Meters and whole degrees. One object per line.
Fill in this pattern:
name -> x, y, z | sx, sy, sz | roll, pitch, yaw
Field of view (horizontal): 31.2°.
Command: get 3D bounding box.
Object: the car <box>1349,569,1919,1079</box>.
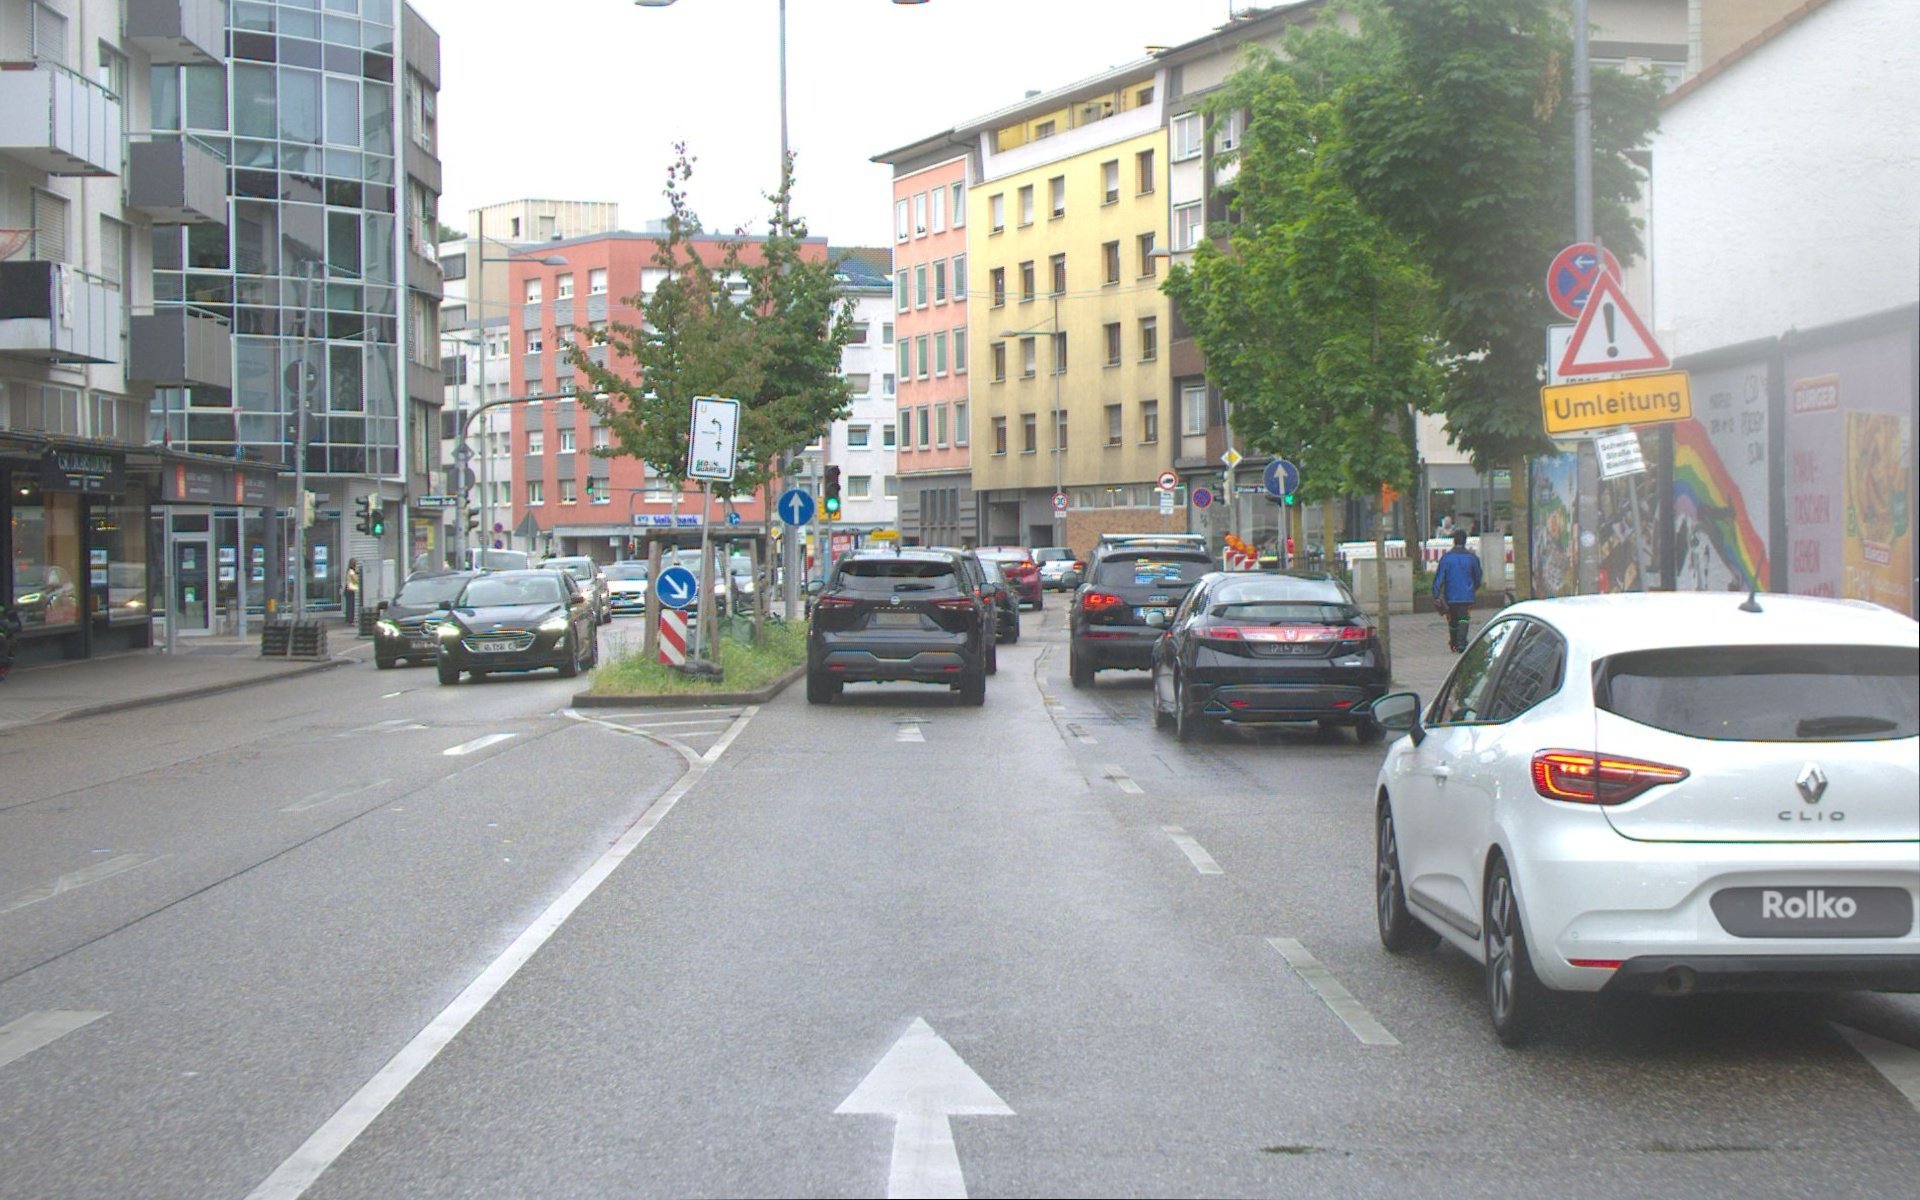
car -> 2.468, 0.647, 12.009 | 1.665, 1.391, 3.867 | 1, 2, -1

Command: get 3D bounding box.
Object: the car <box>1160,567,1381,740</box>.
car -> 2.651, 0.416, 30.010 | 1.787, 1.395, 3.718 | 1, 1, 3

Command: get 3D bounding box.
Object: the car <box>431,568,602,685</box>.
car -> -5.913, 0.322, 46.268 | 1.720, 1.418, 4.165 | -3, 1, 0

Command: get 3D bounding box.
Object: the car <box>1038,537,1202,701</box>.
car -> 1.875, 0.184, 41.280 | 1.830, 1.799, 3.719 | 1, 2, 1

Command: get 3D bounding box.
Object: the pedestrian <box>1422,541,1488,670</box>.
pedestrian -> 6.842, 0.073, 47.476 | 0.792, 1.749, 0.871 | -2, 0, 13

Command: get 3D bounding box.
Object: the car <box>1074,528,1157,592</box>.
car -> 4.085, -1.070, 90.873 | 1.708, 1.605, 3.729 | 2, 1, -4

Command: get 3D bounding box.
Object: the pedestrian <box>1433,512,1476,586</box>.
pedestrian -> 13.622, -1.413, 94.699 | 0.821, 2.007, 0.840 | 1, 1, -19

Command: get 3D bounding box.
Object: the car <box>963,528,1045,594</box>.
car -> 0.959, -0.855, 76.292 | 1.641, 1.376, 3.348 | -2, 1, -2

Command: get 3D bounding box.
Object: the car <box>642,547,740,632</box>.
car -> -5.615, -0.233, 72.088 | 1.683, 1.655, 4.096 | -2, 1, 0

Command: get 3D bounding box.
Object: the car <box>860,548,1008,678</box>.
car -> -0.318, 0.142, 45.051 | 1.823, 1.595, 3.718 | 1, 1, 0

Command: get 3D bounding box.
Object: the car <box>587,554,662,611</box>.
car -> -8.858, -0.463, 91.011 | 1.632, 1.403, 3.437 | -3, 1, -1

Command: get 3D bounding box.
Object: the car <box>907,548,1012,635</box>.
car -> -0.035, -0.156, 58.530 | 1.641, 1.376, 3.348 | -2, 1, -2

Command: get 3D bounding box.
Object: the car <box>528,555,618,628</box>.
car -> -8.969, -0.213, 79.992 | 1.632, 1.586, 3.937 | -3, 1, -1

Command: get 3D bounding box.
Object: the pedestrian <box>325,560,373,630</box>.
pedestrian -> -14.032, -0.109, 78.933 | 0.781, 1.585, 0.763 | -2, 1, -37

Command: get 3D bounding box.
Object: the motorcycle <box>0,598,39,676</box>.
motorcycle -> -12.865, 0.489, 45.861 | 0.525, 0.992, 2.136 | 2, 1, 1

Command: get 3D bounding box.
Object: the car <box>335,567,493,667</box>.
car -> -8.777, 0.236, 55.585 | 1.708, 1.463, 4.829 | -3, 1, 0

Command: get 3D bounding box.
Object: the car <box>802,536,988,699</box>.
car -> -0.645, 0.155, 36.270 | 1.823, 1.595, 3.718 | 1, 1, 0
